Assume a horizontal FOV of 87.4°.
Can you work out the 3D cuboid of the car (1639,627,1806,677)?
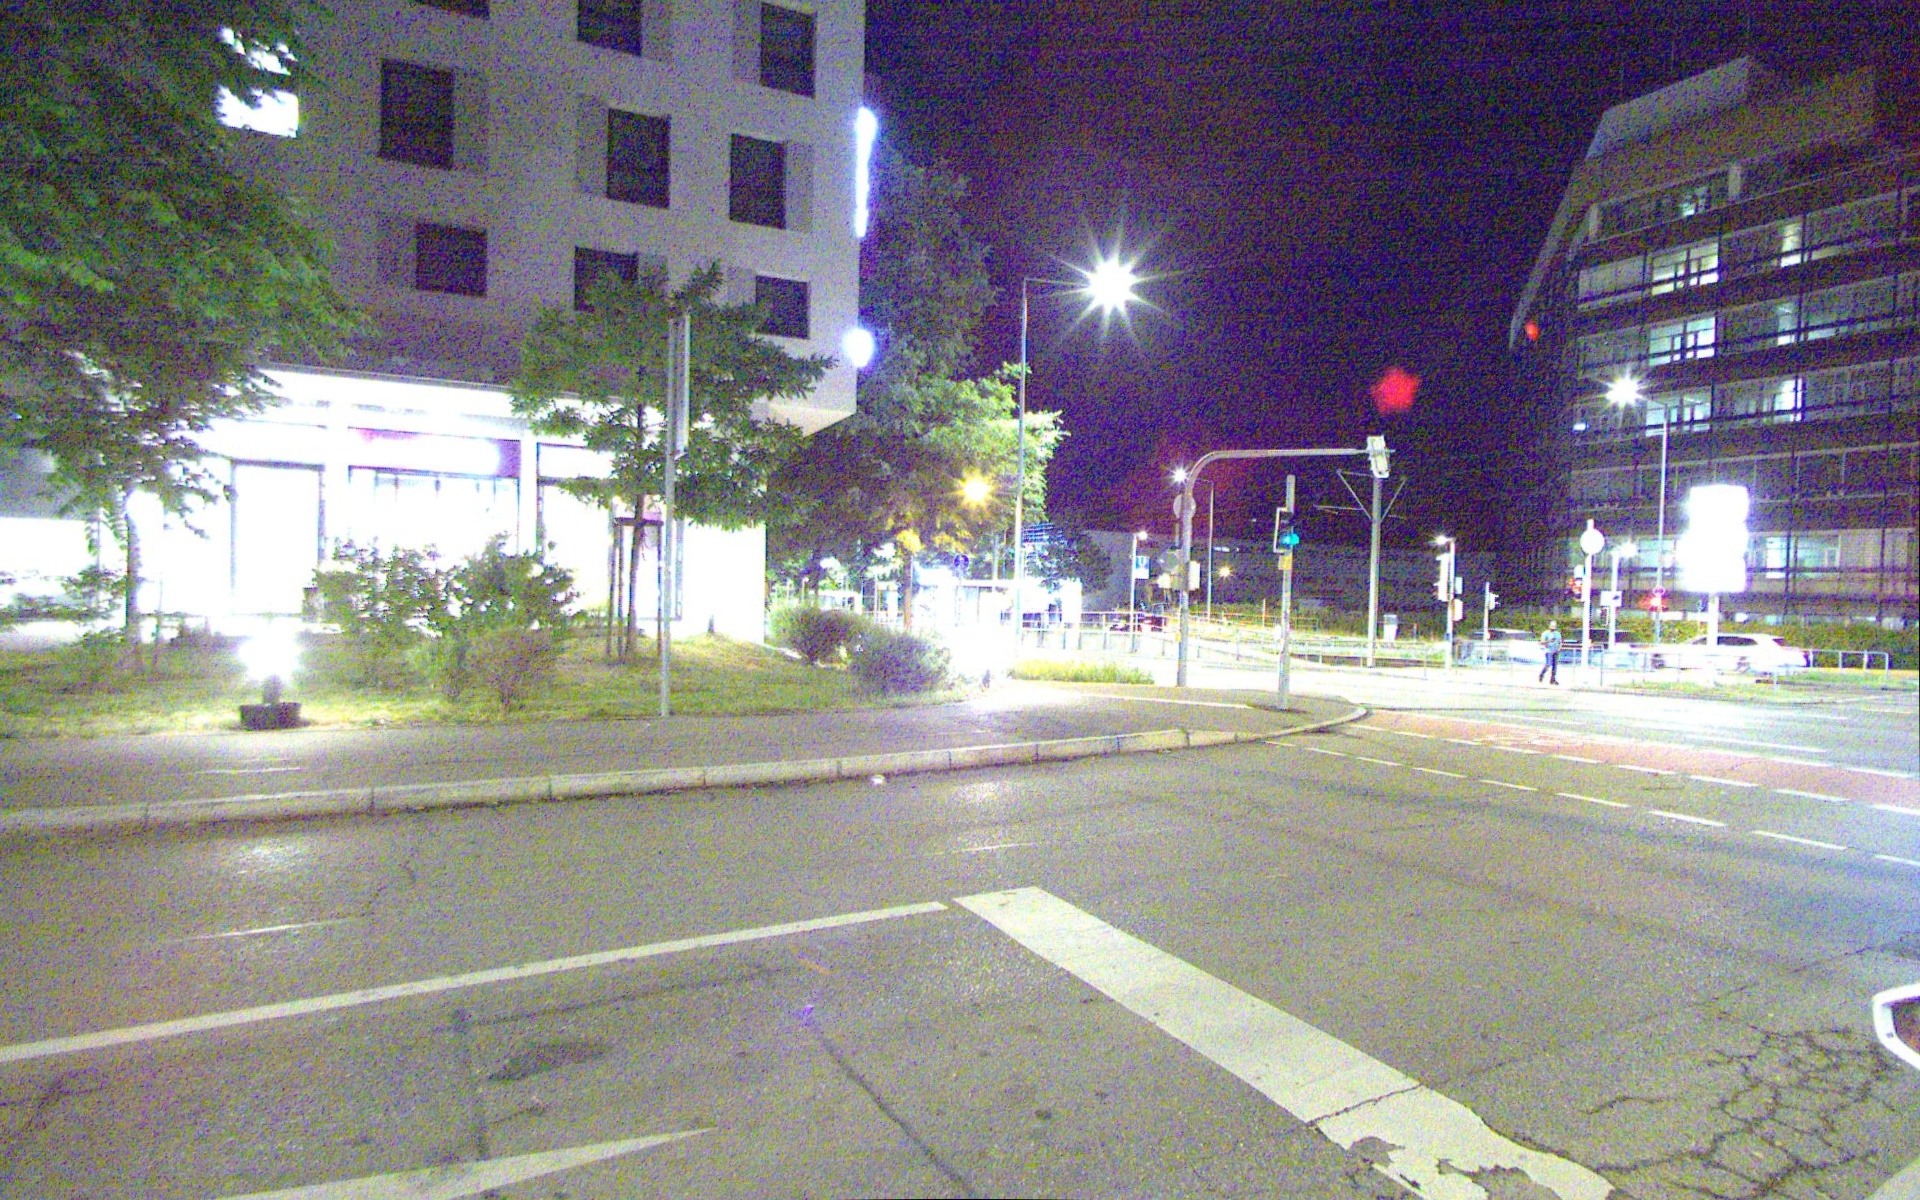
[{"bbox_3d":[27.729,1.843,36.717,1.755,1.506,4.559,1,0,-26],"label":"car"}]

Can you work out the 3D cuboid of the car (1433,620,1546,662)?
[{"bbox_3d":[22.076,1.686,42.029,1.845,1.506,3.822,3,0,-26],"label":"car"}]

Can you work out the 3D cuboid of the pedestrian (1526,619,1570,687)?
[{"bbox_3d":[15.595,1.388,26.649,0.669,1.745,0.702,2,0,-22],"label":"pedestrian"}]

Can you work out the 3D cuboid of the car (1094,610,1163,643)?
[{"bbox_3d":[10.910,1.725,65.445,1.845,1.909,4.926,3,0,-26],"label":"car"}]

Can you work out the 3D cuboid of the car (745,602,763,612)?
[{"bbox_3d":[-33.464,1.145,162.936,1.845,1.506,3.822,3,0,-26],"label":"car"}]

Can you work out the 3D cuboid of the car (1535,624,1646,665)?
[{"bbox_3d":[27.719,1.920,44.291,1.786,1.653,3.810,1,-1,-23],"label":"car"}]
